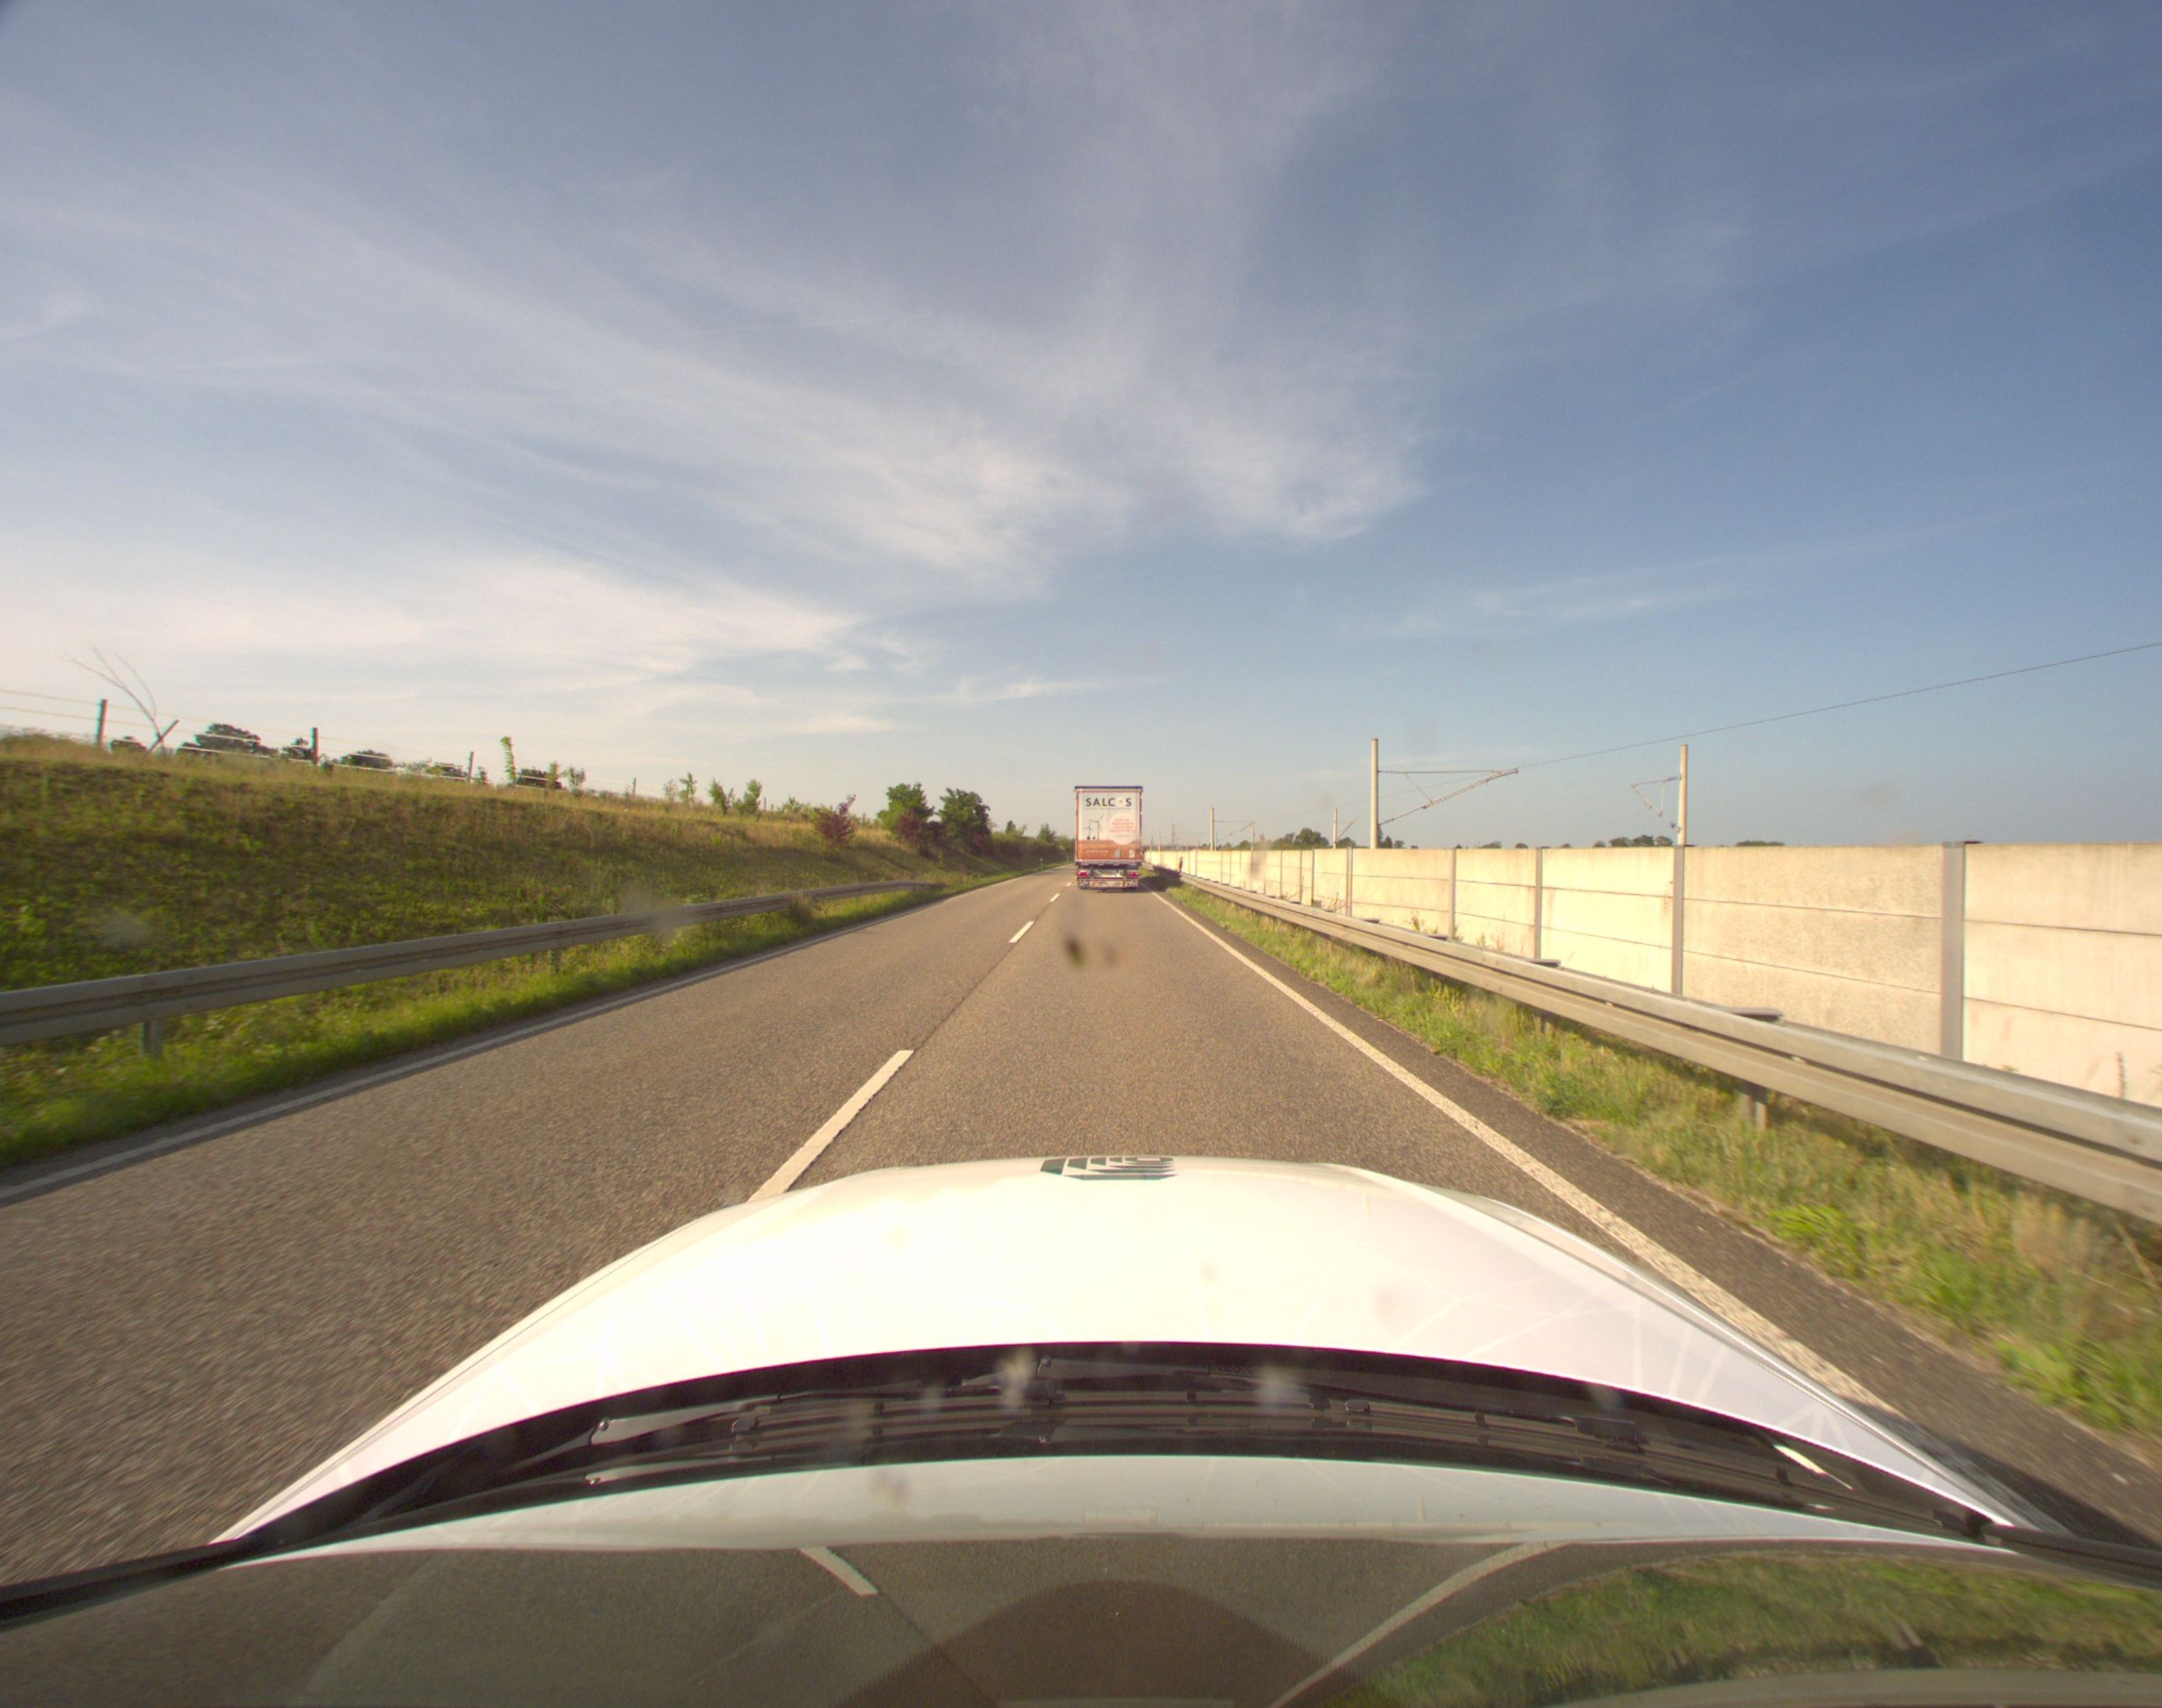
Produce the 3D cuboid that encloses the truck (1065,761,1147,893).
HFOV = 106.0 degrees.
[{"bbox_3d":[1.069,-1.075,36.574,3.022,4.920,11.687,-1,1,1],"label":"truck"}]
